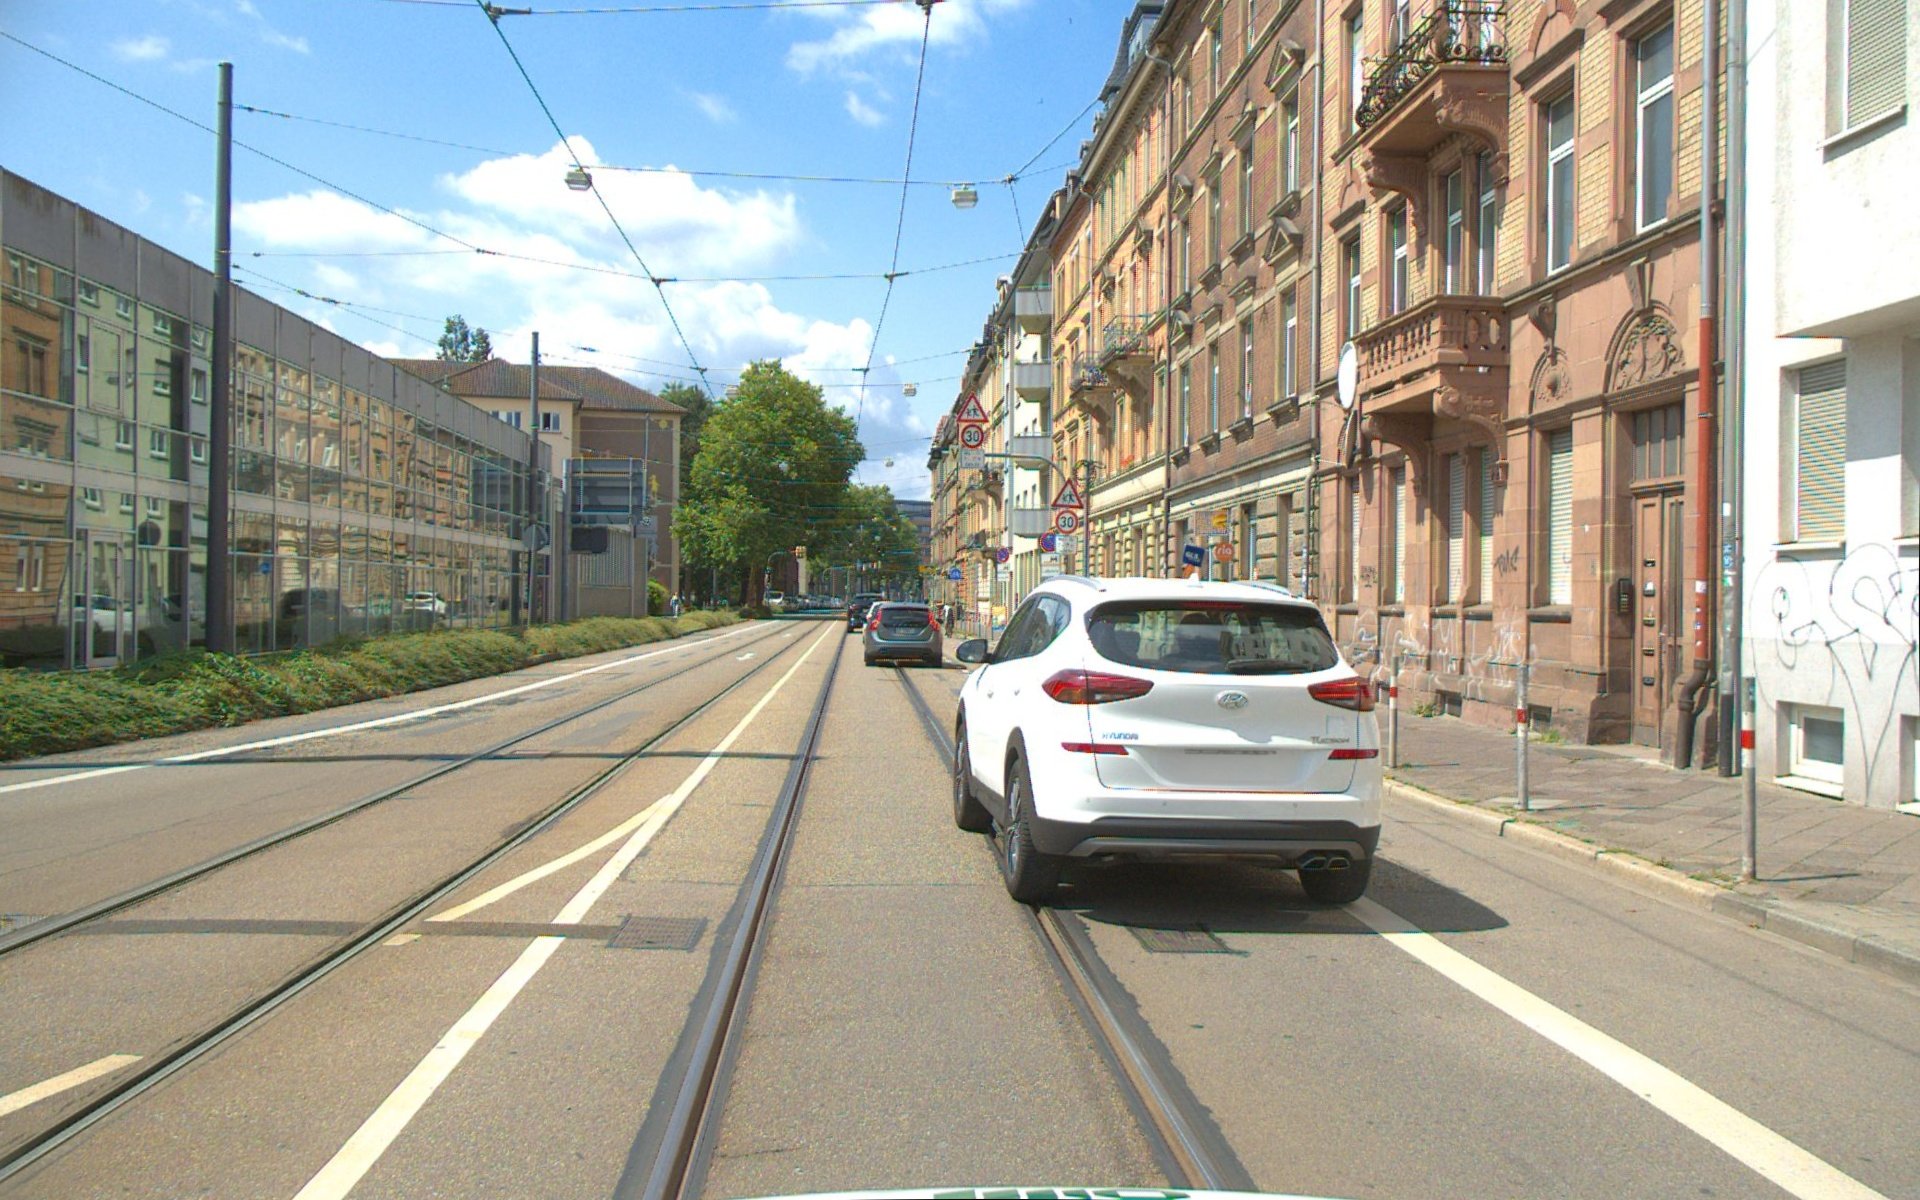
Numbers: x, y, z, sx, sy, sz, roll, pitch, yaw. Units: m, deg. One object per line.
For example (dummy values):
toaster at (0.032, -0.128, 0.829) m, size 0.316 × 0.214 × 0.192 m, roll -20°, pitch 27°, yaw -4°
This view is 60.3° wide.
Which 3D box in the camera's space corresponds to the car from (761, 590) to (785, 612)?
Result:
car at (-16.999, 0.079, 150.583) m, size 1.911 × 1.928 × 4.562 m, roll 1°, pitch 0°, yaw -4°

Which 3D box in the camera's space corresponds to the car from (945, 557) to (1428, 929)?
car at (1.033, 0.660, 9.643) m, size 1.816 × 1.662 × 4.175 m, roll 2°, pitch 0°, yaw -6°

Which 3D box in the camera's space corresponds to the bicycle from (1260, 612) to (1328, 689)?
bicycle at (5.479, 0.806, 27.260) m, size 0.574 × 1.199 × 2.204 m, roll 0°, pitch 0°, yaw -3°

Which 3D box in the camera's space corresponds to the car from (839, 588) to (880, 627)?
car at (-4.589, 0.328, 75.341) m, size 1.778 × 1.691 × 4.082 m, roll 0°, pitch 0°, yaw -4°

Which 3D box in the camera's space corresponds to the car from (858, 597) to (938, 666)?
car at (-1.417, 0.698, 39.137) m, size 1.777 × 1.551 × 4.084 m, roll 0°, pitch 0°, yaw -1°

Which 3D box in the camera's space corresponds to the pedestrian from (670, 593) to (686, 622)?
pedestrian at (-18.288, 0.471, 107.270) m, size 0.862 × 1.898 × 1.080 m, roll -1°, pitch 0°, yaw -3°

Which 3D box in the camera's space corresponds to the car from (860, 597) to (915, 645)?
car at (-2.469, 0.671, 55.820) m, size 1.778 × 1.551 × 3.952 m, roll 0°, pitch 0°, yaw -4°
